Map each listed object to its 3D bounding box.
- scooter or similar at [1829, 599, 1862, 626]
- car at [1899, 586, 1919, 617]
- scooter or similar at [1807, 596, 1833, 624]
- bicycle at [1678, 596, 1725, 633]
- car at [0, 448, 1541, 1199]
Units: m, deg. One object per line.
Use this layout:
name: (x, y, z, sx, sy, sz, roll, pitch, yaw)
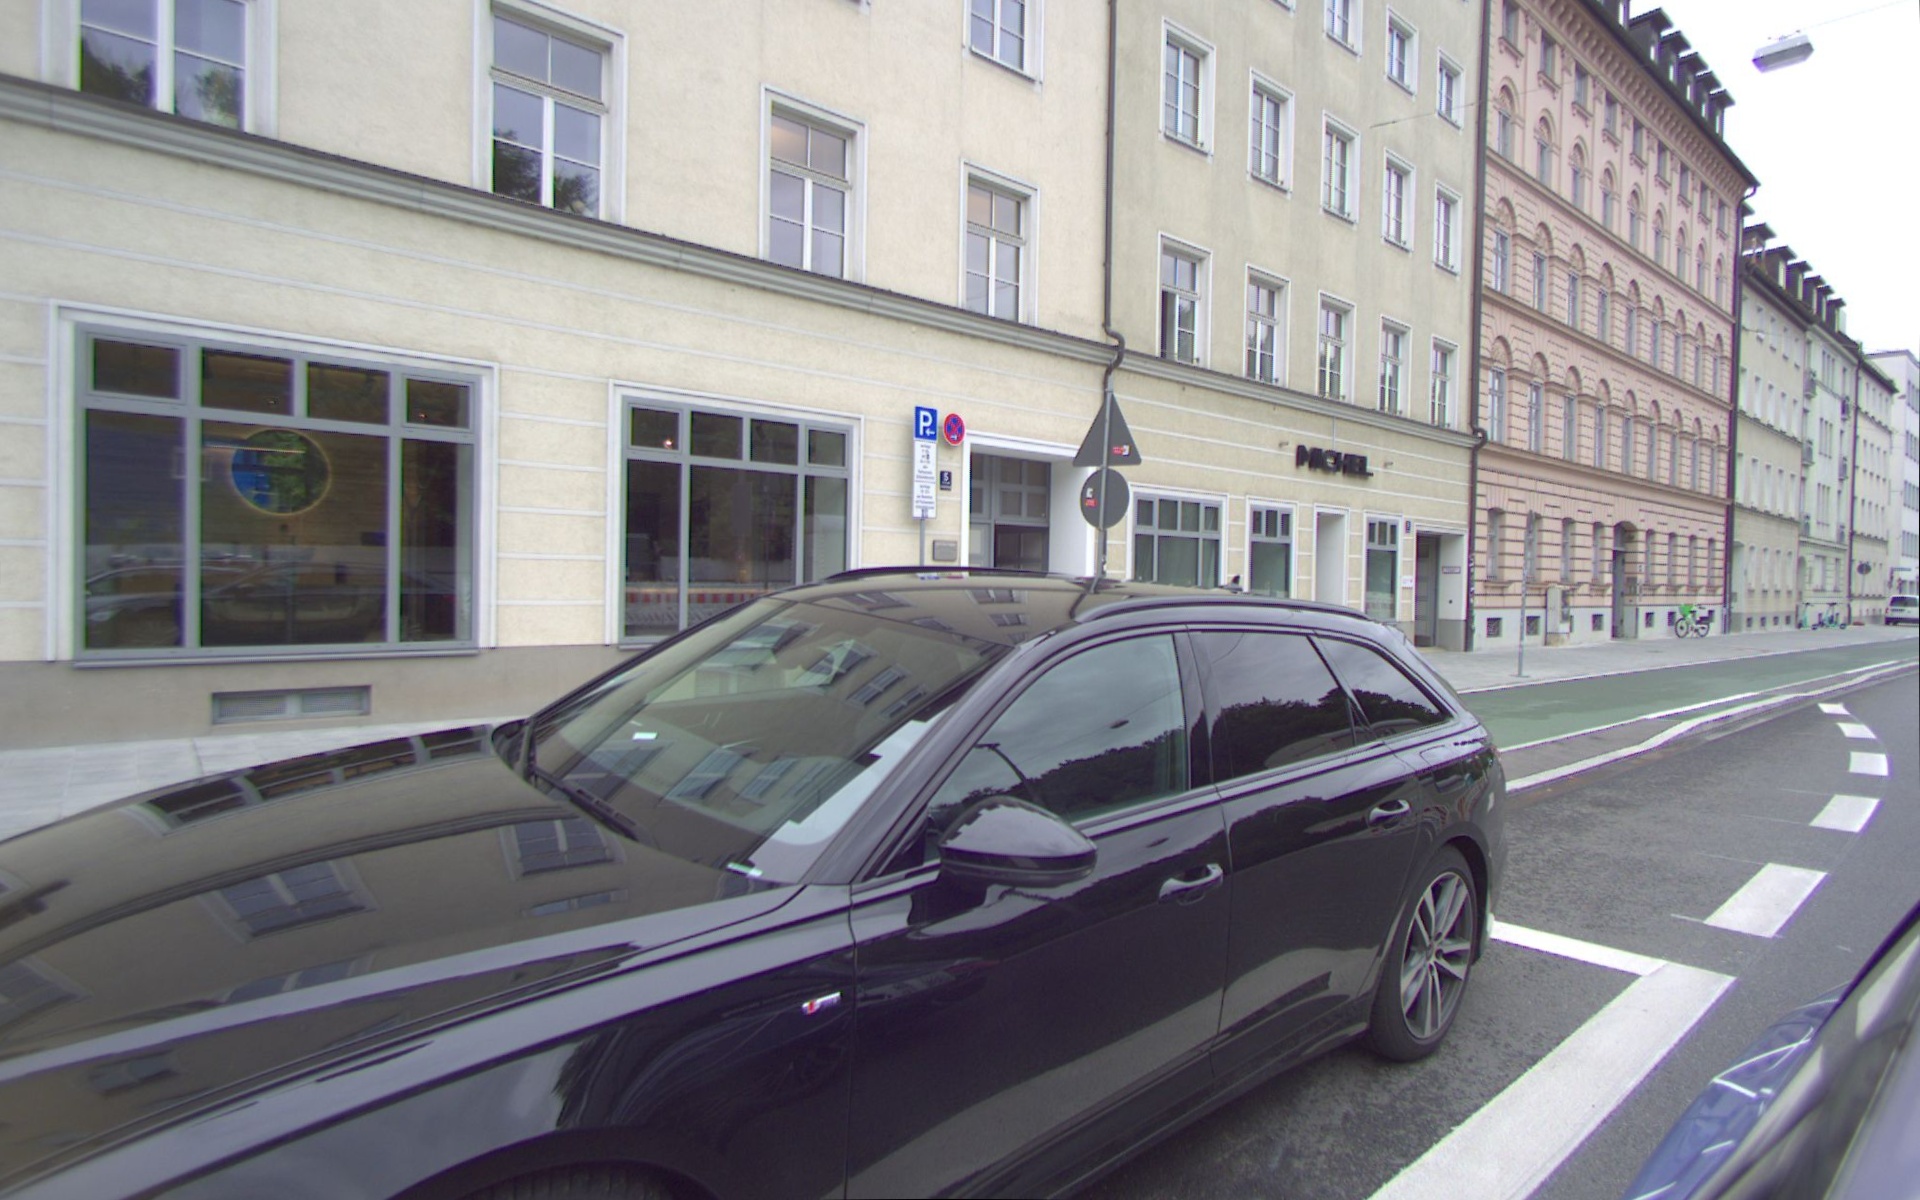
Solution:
scooter or similar: (42.619, 0.587, 48.717, 1.105, 1.246, 0.246, 3, 2, 18)
car: (56.562, 0.119, 59.279, 4.356, 1.771, 1.737, 1, 2, -40)
scooter or similar: (38.875, 0.453, 45.738, 1.096, 1.246, 0.248, 1, 2, -14)
bicycle: (24.870, 0.482, 33.930, 1.695, 1.188, 0.428, 1, 1, -23)
car: (-0.312, 0.597, 2.566, 4.607, 1.498, 1.804, 0, 1, -43)
